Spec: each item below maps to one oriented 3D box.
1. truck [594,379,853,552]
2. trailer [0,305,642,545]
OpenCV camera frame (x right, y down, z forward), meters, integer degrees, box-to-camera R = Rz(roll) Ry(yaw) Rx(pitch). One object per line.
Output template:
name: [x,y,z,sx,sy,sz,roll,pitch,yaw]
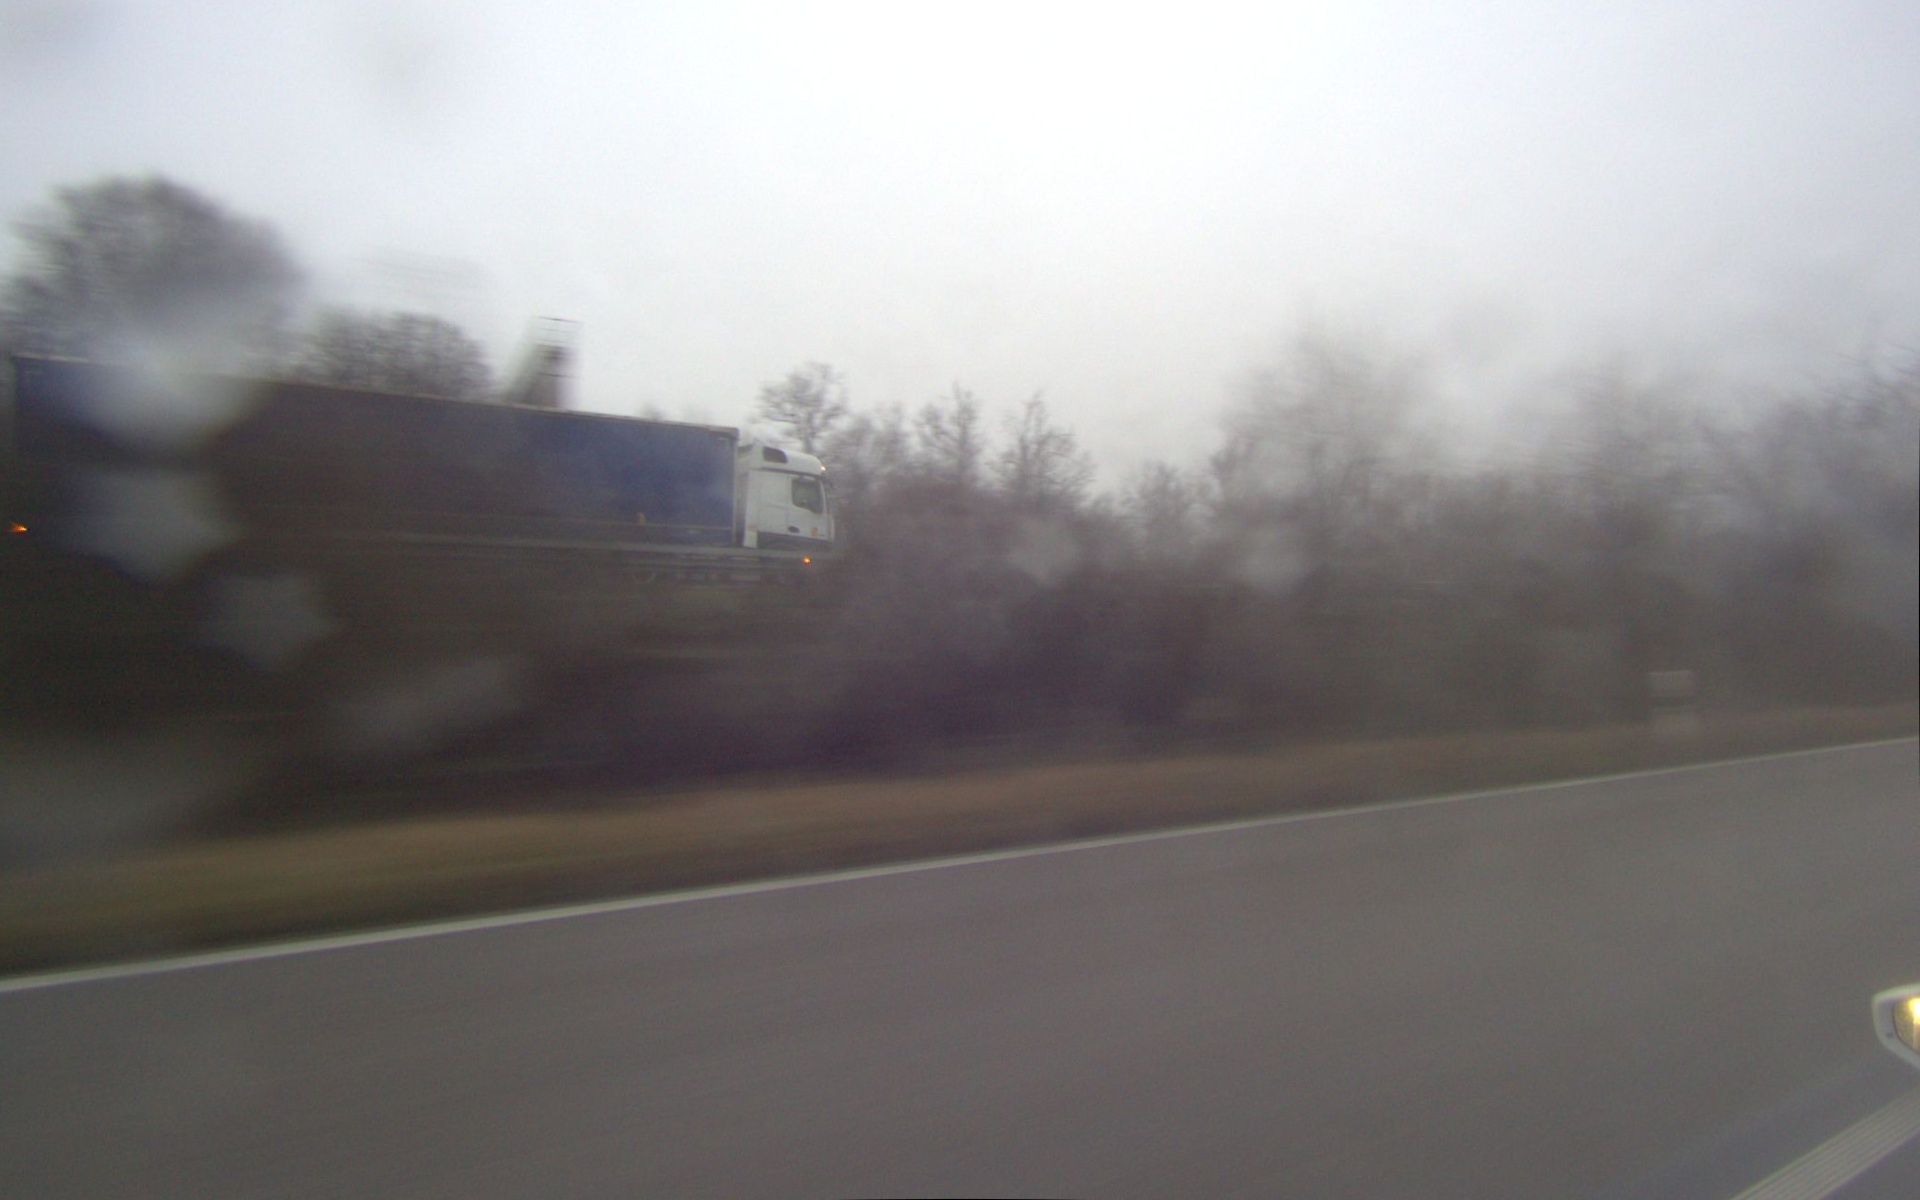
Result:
truck: [-6.138,-3.257,26.201,5.996,3.681,2.978,1,0,-31]
trailer: [-13.087,-3.348,22.078,11.254,3.682,2.984,1,0,-31]
